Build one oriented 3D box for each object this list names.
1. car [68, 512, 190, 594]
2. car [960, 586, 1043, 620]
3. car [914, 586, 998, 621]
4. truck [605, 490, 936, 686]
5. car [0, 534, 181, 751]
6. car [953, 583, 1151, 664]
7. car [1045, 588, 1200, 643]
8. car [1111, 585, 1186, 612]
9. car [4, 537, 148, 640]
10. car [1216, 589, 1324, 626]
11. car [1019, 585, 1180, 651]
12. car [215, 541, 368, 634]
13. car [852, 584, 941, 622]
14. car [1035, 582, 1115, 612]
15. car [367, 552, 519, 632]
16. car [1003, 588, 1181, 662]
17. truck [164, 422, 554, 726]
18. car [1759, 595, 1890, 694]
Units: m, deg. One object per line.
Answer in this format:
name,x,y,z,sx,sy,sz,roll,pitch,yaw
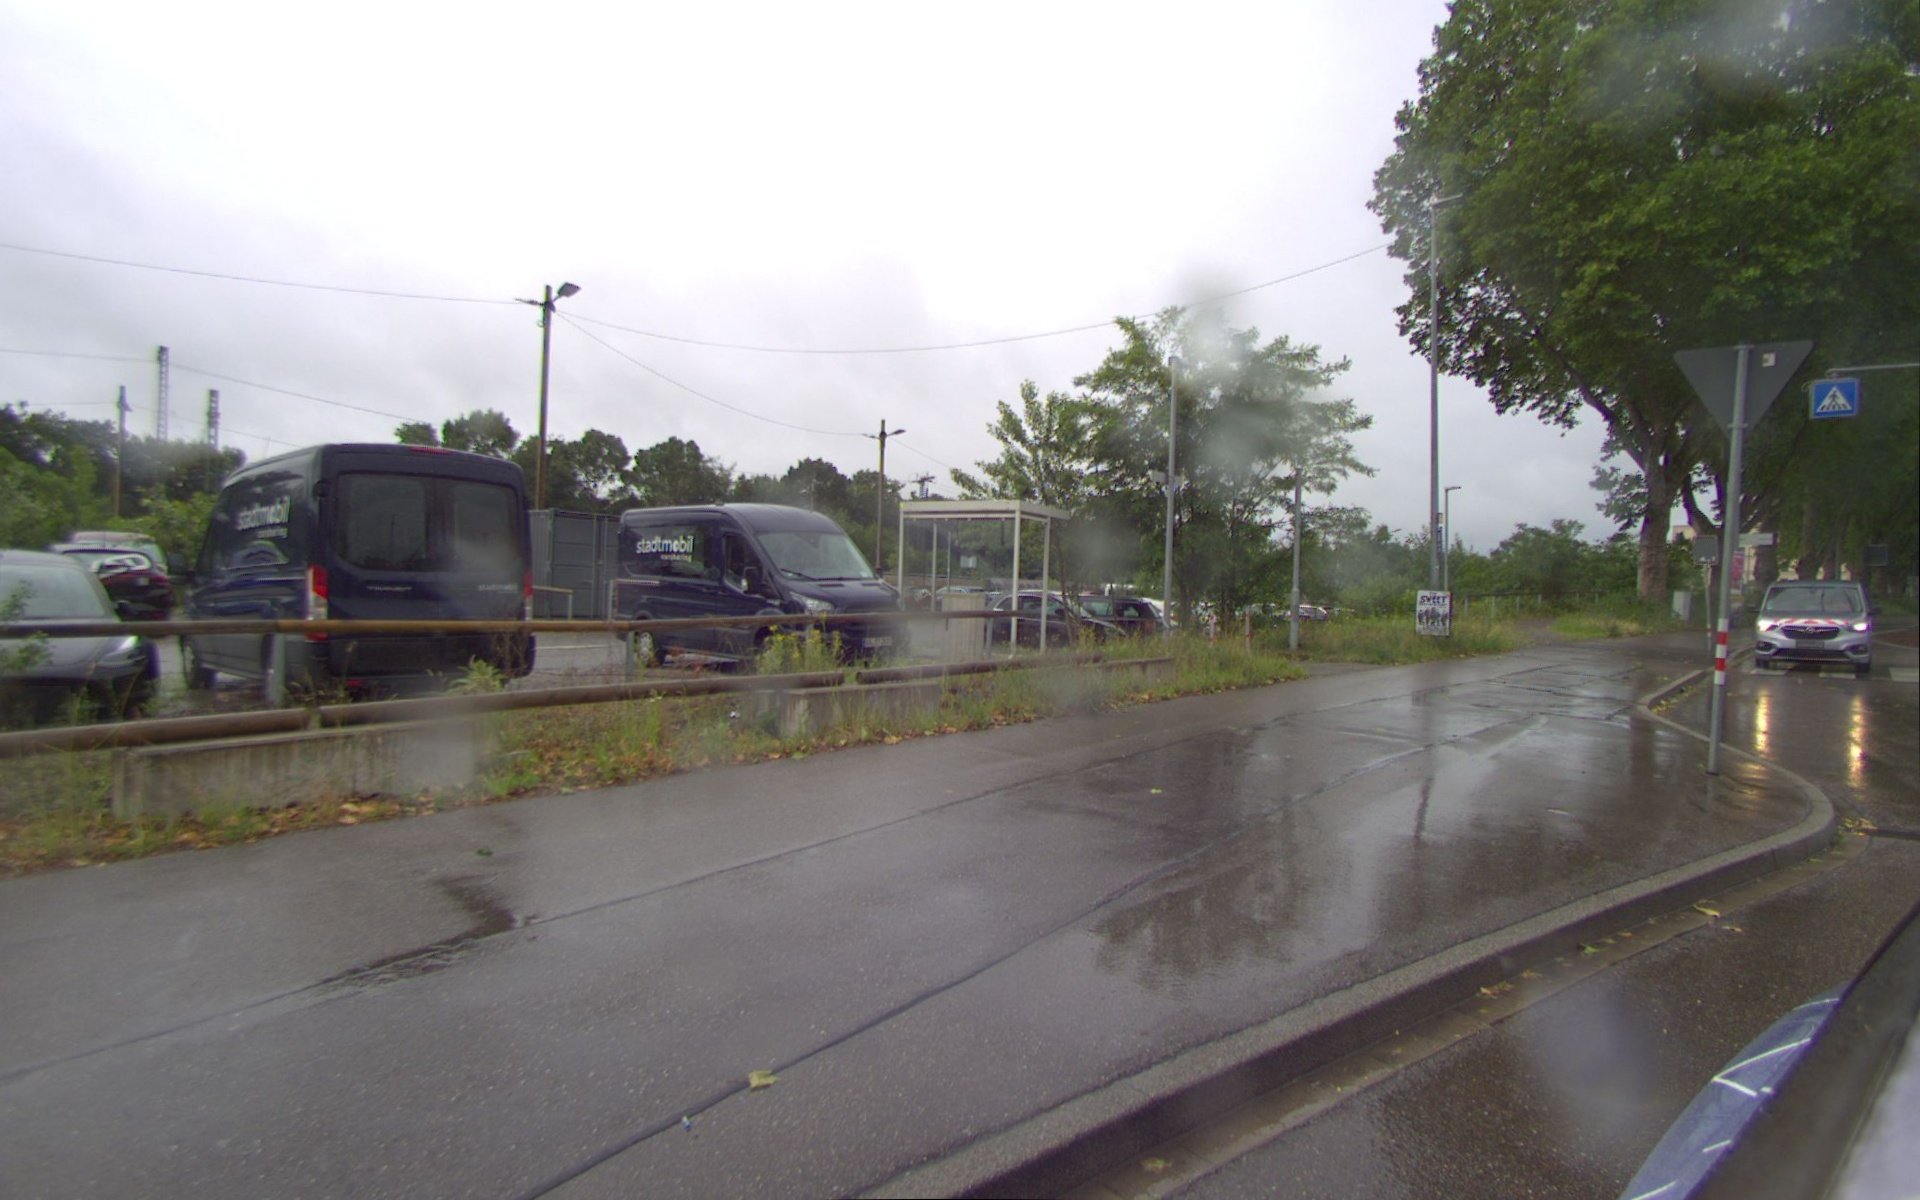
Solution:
car,-18.490,-1.017,22.456,1.736,1.660,3.989,0,2,-45
car,1.994,0.105,49.250,1.786,1.455,3.996,1,2,-40
car,-0.224,0.120,47.479,1.786,1.455,3.996,1,2,-40
truck,-2.938,-0.199,14.734,5.330,2.352,2.042,1,1,44
car,-7.892,0.246,8.121,4.155,1.438,1.836,1,2,41
car,2.002,0.446,21.875,3.952,1.508,1.693,2,1,21
car,5.185,0.449,32.347,4.592,1.502,1.863,2,1,22
car,10.695,-0.104,57.600,1.786,1.393,3.996,1,2,-40
car,-15.235,-0.273,17.372,1.679,1.498,3.957,-1,4,-44
car,14.188,0.317,46.367,4.364,1.447,1.855,3,2,32
car,3.755,0.442,27.187,3.952,1.542,1.863,2,1,21
car,-12.932,-0.312,19.494,1.777,1.555,3.957,-1,4,-44
car,-2.874,0.109,45.148,1.926,1.492,3.996,1,2,-40
car,6.014,-0.189,53.226,1.786,1.393,3.996,1,2,-40
car,-11.134,-0.234,21.668,1.812,1.466,3.991,-1,4,-44
car,3.202,0.550,24.464,3.952,1.521,1.863,2,1,21
truck,-6.444,-0.261,10.561,5.029,2.433,2.079,1,1,41
car,17.692,0.815,20.751,1.832,1.745,4.111,3,2,41
